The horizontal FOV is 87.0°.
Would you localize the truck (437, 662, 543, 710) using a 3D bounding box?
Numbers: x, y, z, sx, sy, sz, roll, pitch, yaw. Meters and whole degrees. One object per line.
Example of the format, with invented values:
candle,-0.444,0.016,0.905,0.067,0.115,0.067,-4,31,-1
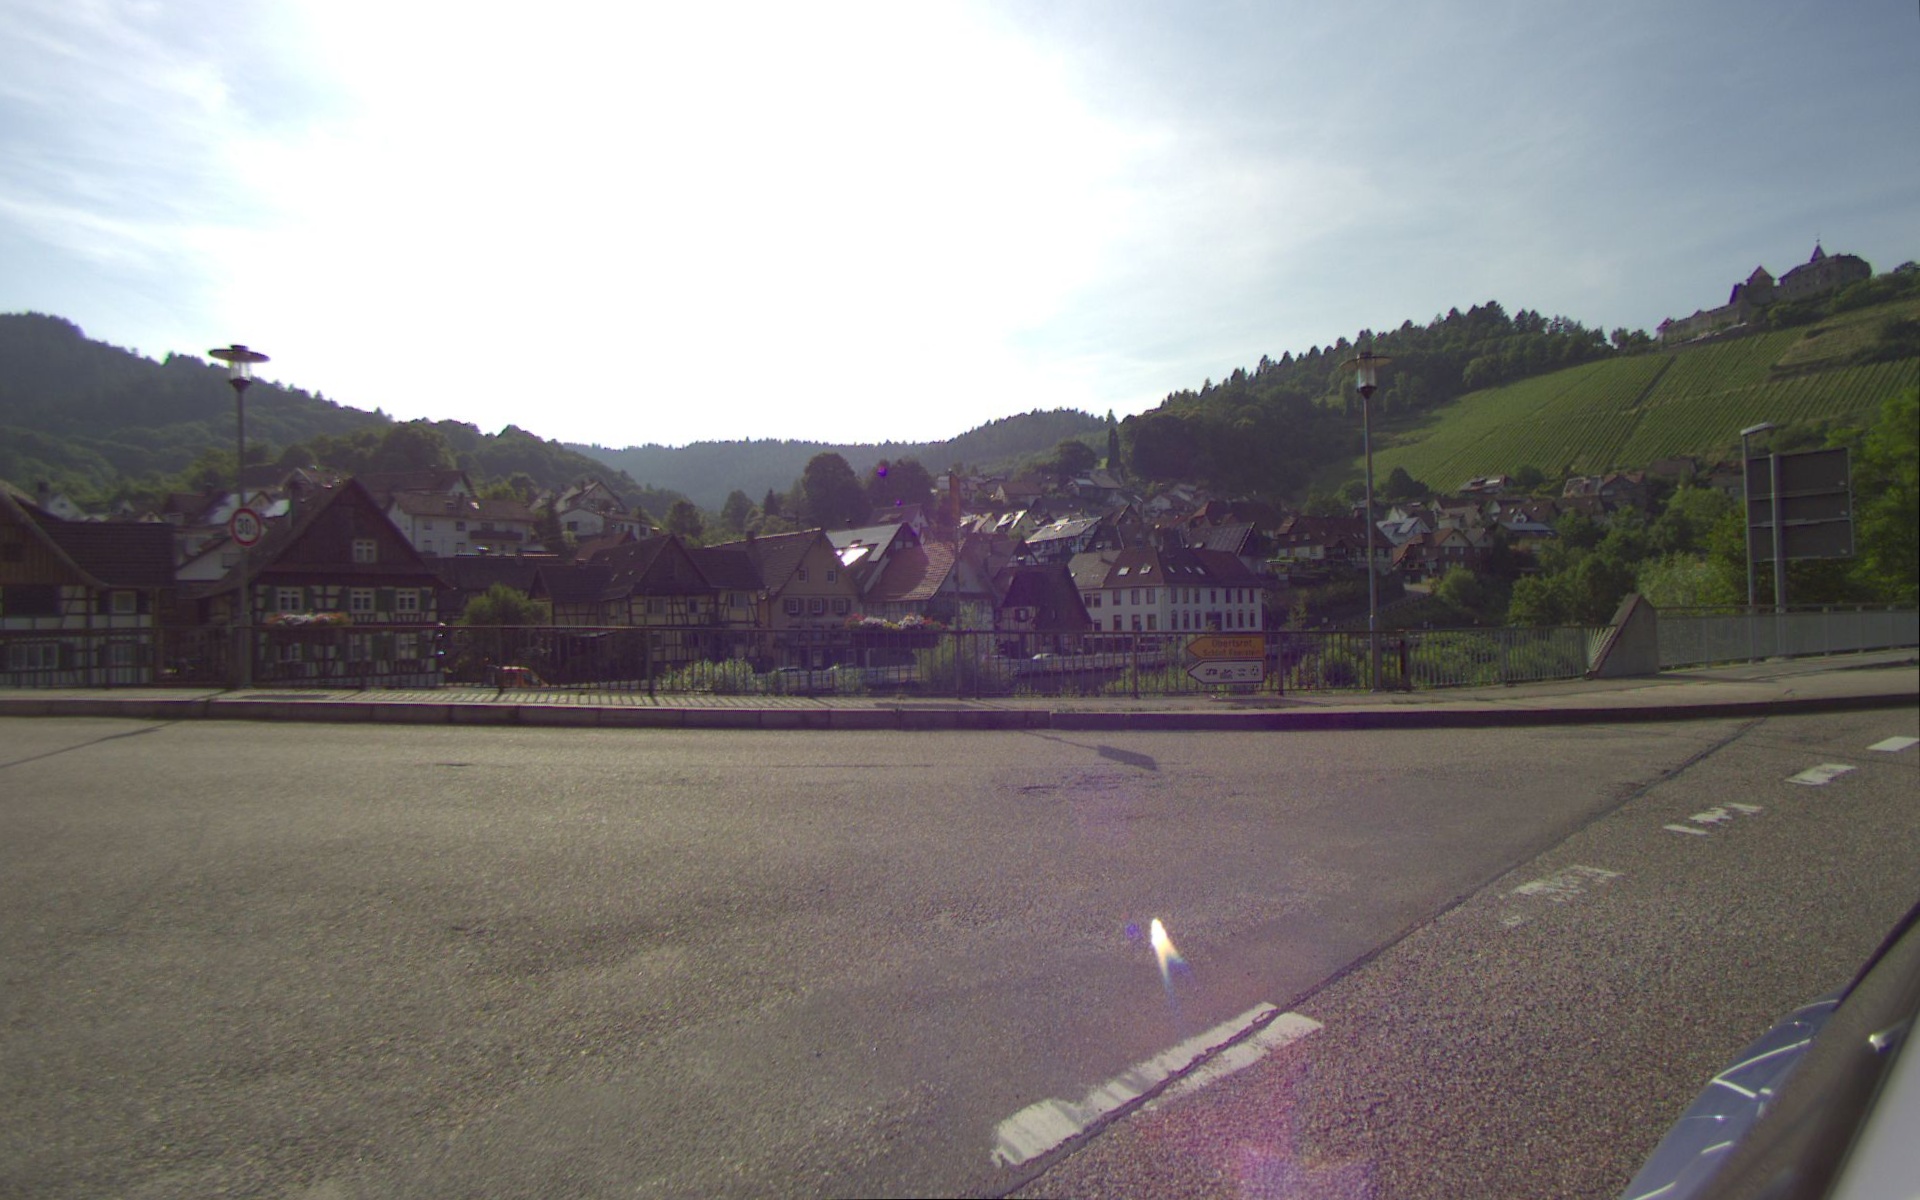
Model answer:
truck,-24.379,4.413,52.595,4.647,2.039,1.995,-1,0,-44
